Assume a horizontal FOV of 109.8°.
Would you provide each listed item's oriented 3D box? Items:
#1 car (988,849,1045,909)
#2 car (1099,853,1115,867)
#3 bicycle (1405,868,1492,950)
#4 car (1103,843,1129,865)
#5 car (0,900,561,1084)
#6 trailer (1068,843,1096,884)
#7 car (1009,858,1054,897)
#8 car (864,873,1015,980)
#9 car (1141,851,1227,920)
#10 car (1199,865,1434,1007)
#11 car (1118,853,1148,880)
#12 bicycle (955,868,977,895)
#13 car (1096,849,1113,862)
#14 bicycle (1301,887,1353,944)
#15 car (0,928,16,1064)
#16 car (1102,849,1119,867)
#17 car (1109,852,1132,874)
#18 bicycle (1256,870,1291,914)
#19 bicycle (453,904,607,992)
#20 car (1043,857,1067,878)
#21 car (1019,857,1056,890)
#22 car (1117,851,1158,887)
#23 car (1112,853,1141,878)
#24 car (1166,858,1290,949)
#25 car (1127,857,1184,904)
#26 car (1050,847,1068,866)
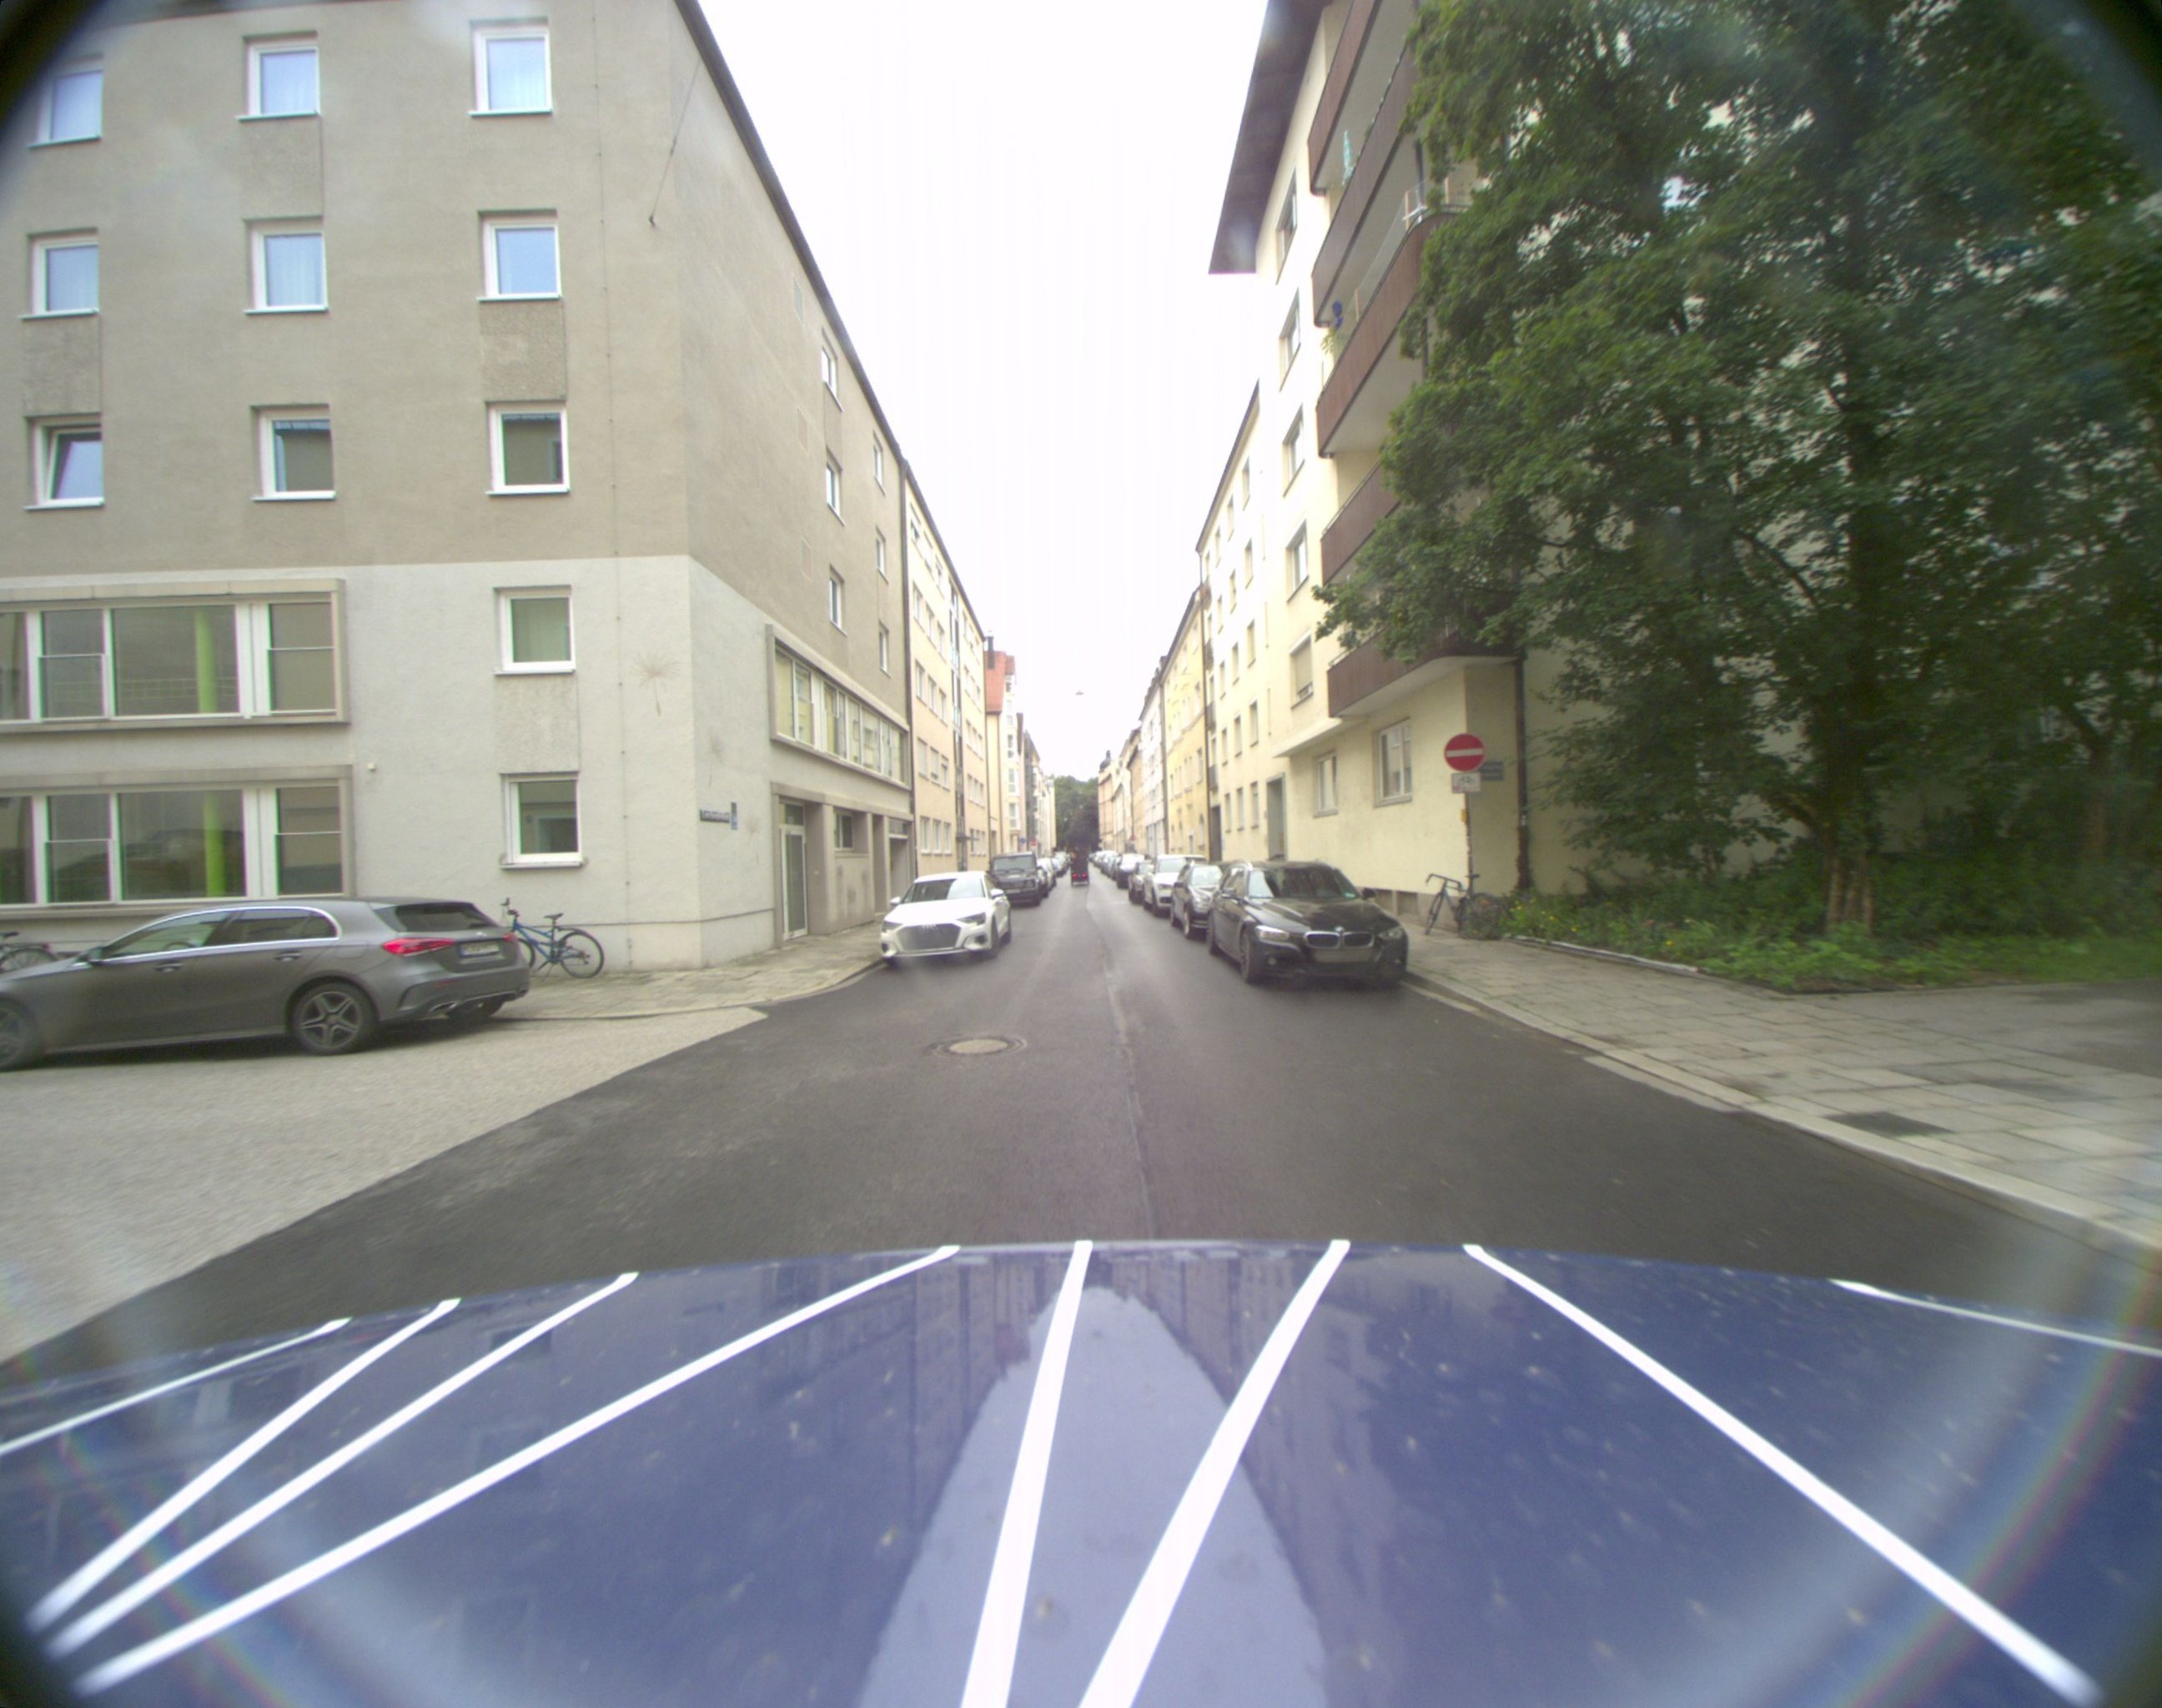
[{"bbox_3d":[-2.339,0.878,28.472,1.755,1.964,4.342,-4,0,-2],"label":"car"},{"bbox_3d":[2.883,0.679,84.083,1.676,1.467,4.112,0,1,1],"label":"car"},{"bbox_3d":[5.757,0.828,12.017,0.536,1.155,1.789,0,1,1],"label":"bicycle"},{"bbox_3d":[2.935,-0.059,64.328,1.867,1.760,4.734,0,1,-1],"label":"car"},{"bbox_3d":[-7.967,1.247,7.511,4.215,1.391,2.000,-2,-1,-2],"label":"car"},{"bbox_3d":[0.059,0.469,41.834,1.359,2.104,3.317,-2,1,0],"label":"trailer"},{"bbox_3d":[-2.126,0.985,33.559,1.716,1.477,4.243,-3,1,-2],"label":"car"},{"bbox_3d":[-2.281,1.134,13.336,1.823,1.400,3.952,-3,0,0],"label":"car"},{"bbox_3d":[2.743,0.782,21.154,1.770,1.666,4.366,-1,1,0],"label":"car"},{"bbox_3d":[2.813,0.894,10.178,1.860,1.400,4.383,-1,0,1],"label":"car"},{"bbox_3d":[2.944,0.690,43.748,1.566,1.452,3.475,-1,1,2],"label":"car"},{"bbox_3d":[-4.943,1.174,32.879,0.656,1.099,1.760,2,1,0],"label":"bicycle"},{"bbox_3d":[2.837,0.210,92.926,1.786,1.596,4.307,0,0,-3],"label":"car"},{"bbox_3d":[5.709,1.403,17.730,0.647,1.155,1.789,0,1,1],"label":"bicycle"},{"bbox_3d":[-13.022,1.486,7.274,3.353,1.426,1.568,-2,-4,0],"label":"car"},{"bbox_3d":[3.054,0.394,78.219,1.728,1.779,4.248,0,2,2],"label":"car"},{"bbox_3d":[2.832,0.621,54.721,1.566,1.452,3.404,-1,1,2],"label":"car"},{"bbox_3d":[5.430,1.054,21.524,0.582,1.155,1.789,0,1,1],"label":"bicycle"},{"bbox_3d":[-7.830,1.330,10.829,1.801,1.109,0.465,-3,1,0],"label":"bicycle"},{"bbox_3d":[-2.063,1.026,59.817,1.721,1.463,4.530,-3,1,-2],"label":"car"},{"bbox_3d":[-2.170,0.962,39.026,1.716,1.477,4.243,-3,1,-2],"label":"car"},{"bbox_3d":[2.784,0.727,38.422,1.883,1.650,4.414,-1,1,2],"label":"car"},{"bbox_3d":[2.853,0.715,48.716,1.567,1.452,3.763,-1,1,-1],"label":"car"},{"bbox_3d":[2.787,0.869,15.377,1.770,1.475,4.423,-1,1,2],"label":"car"},{"bbox_3d":[2.510,0.866,26.392,1.656,1.427,3.802,-1,1,1],"label":"car"},{"bbox_3d":[-2.585,0.218,89.429,1.878,2.002,5.105,-3,1,-1],"label":"car"}]
